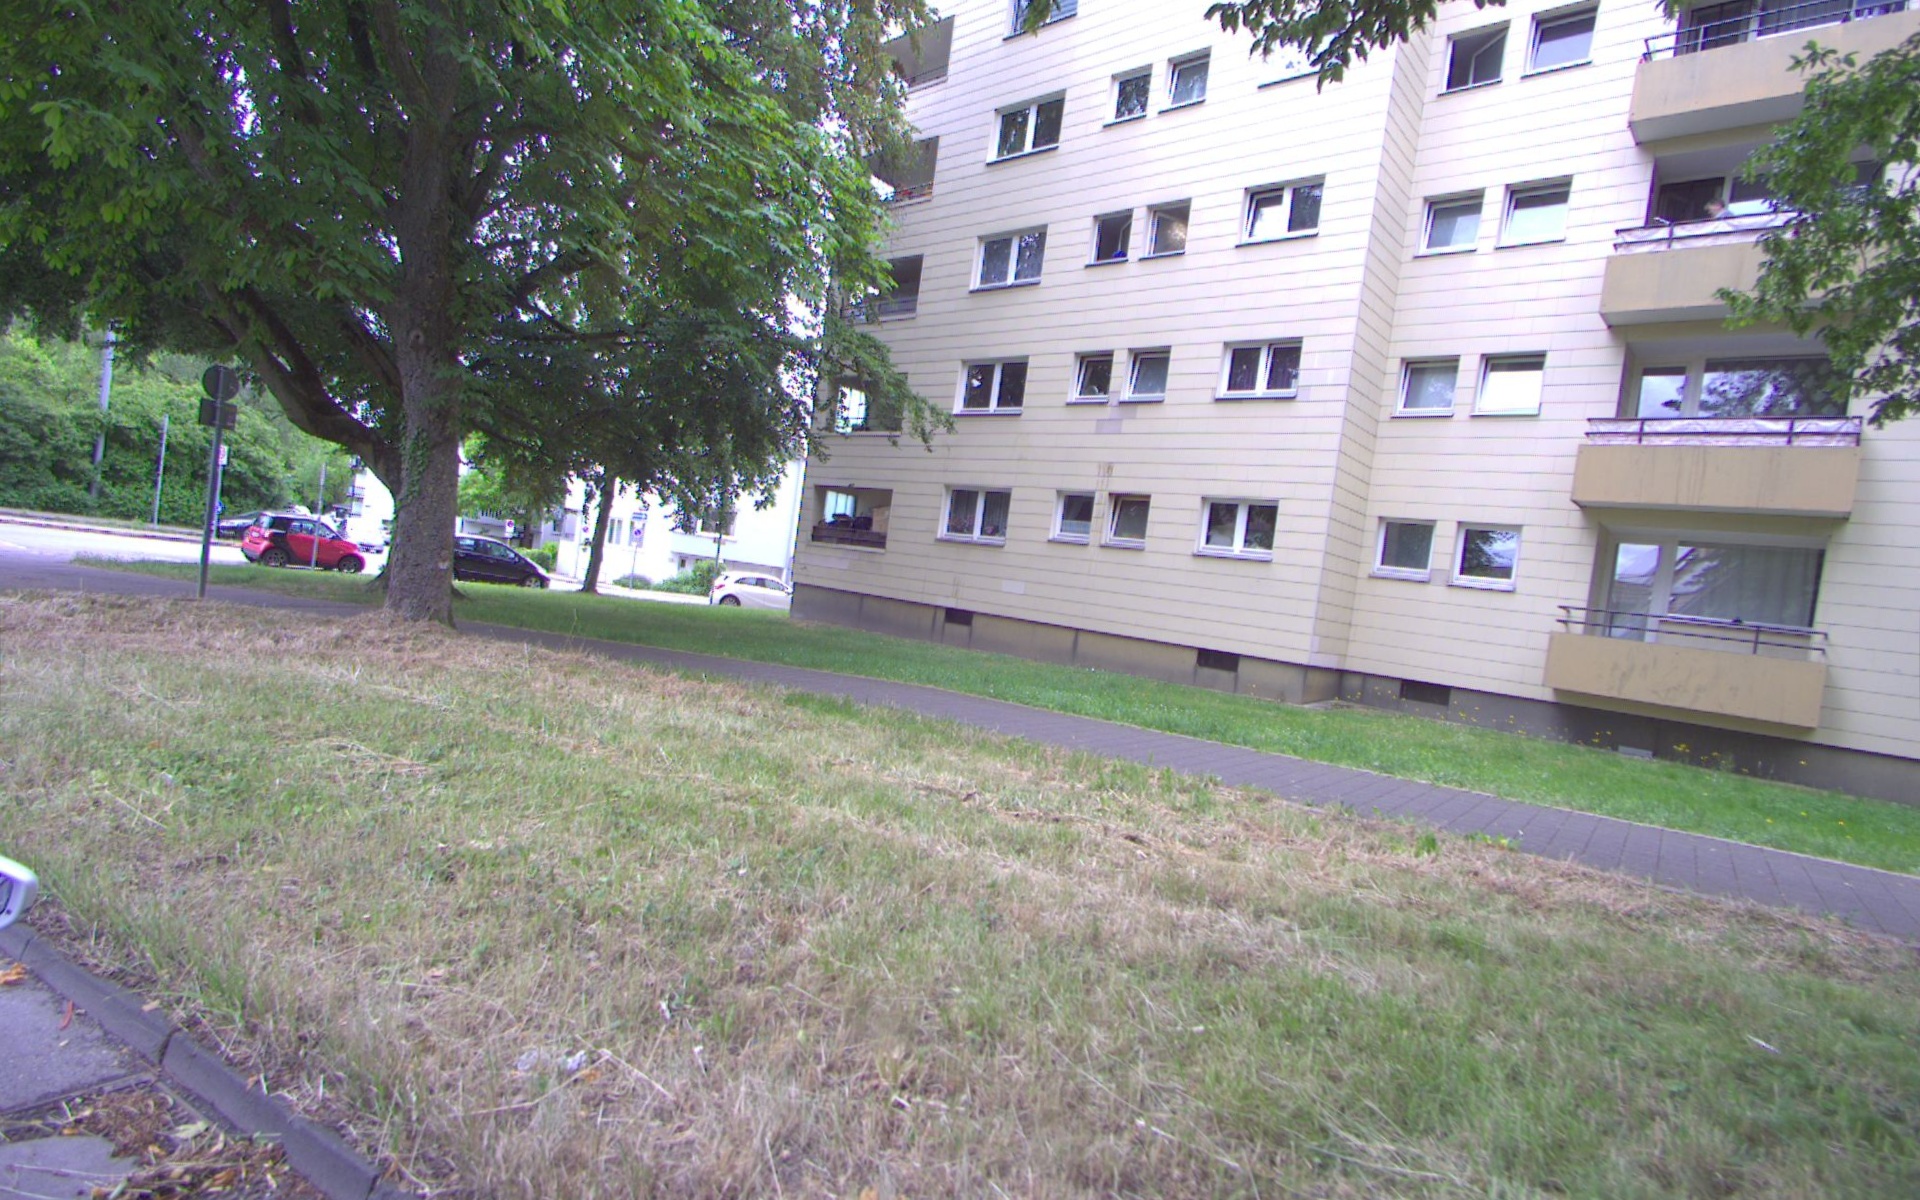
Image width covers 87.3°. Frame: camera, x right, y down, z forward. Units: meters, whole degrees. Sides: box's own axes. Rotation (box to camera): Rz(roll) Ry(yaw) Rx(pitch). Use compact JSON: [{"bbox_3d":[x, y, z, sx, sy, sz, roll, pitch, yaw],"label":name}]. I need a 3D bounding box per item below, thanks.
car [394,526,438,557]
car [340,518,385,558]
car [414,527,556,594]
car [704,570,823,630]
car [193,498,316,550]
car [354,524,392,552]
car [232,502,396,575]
[{"bbox_3d":[-34.551,-3.733,63.825,1.714,1.632,3.812,5,2,-38],"label":"car"},{"bbox_3d":[-29.128,-3.040,49.059,1.709,1.632,3.822,6,2,-31],"label":"car"},{"bbox_3d":[-15.084,-1.249,31.989,3.815,1.631,1.712,6,2,-34],"label":"car"},{"bbox_3d":[-6.946,-0.016,35.488,3.797,1.632,1.720,6,2,-18],"label":"car"},{"bbox_3d":[-27.532,-2.949,39.329,1.702,1.550,3.515,8,2,37],"label":"car"},{"bbox_3d":[-42.415,-4.483,72.652,1.714,1.632,3.812,5,2,-38],"label":"car"},{"bbox_3d":[-18.521,-1.741,28.968,1.701,1.631,3.516,8,2,36],"label":"car"}]
